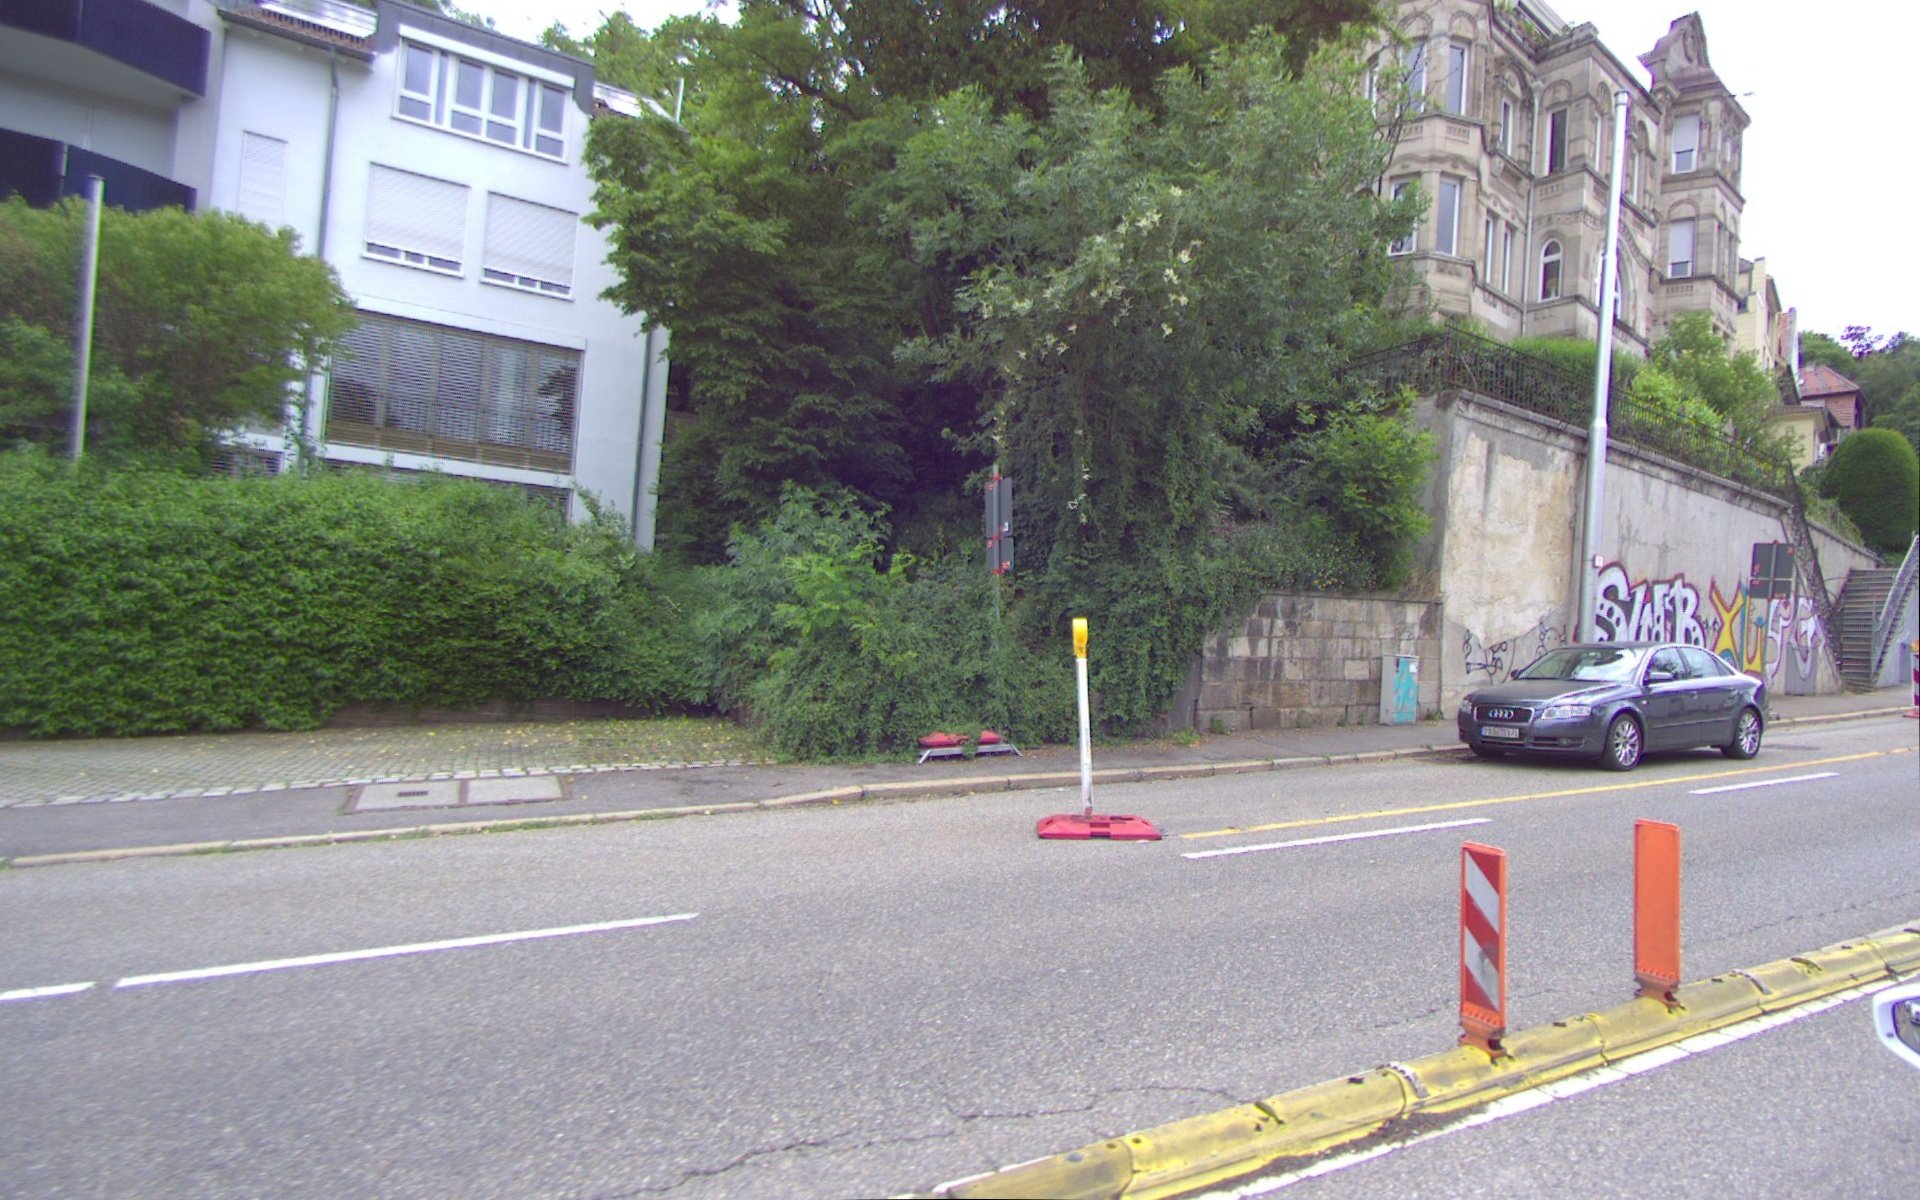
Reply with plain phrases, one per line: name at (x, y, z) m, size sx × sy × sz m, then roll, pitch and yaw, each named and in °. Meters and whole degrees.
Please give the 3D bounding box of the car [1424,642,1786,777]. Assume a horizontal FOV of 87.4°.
car at (7.859, 1.212, 12.176) m, size 4.332 × 1.391 × 1.793 m, roll 1°, pitch -3°, yaw -28°
